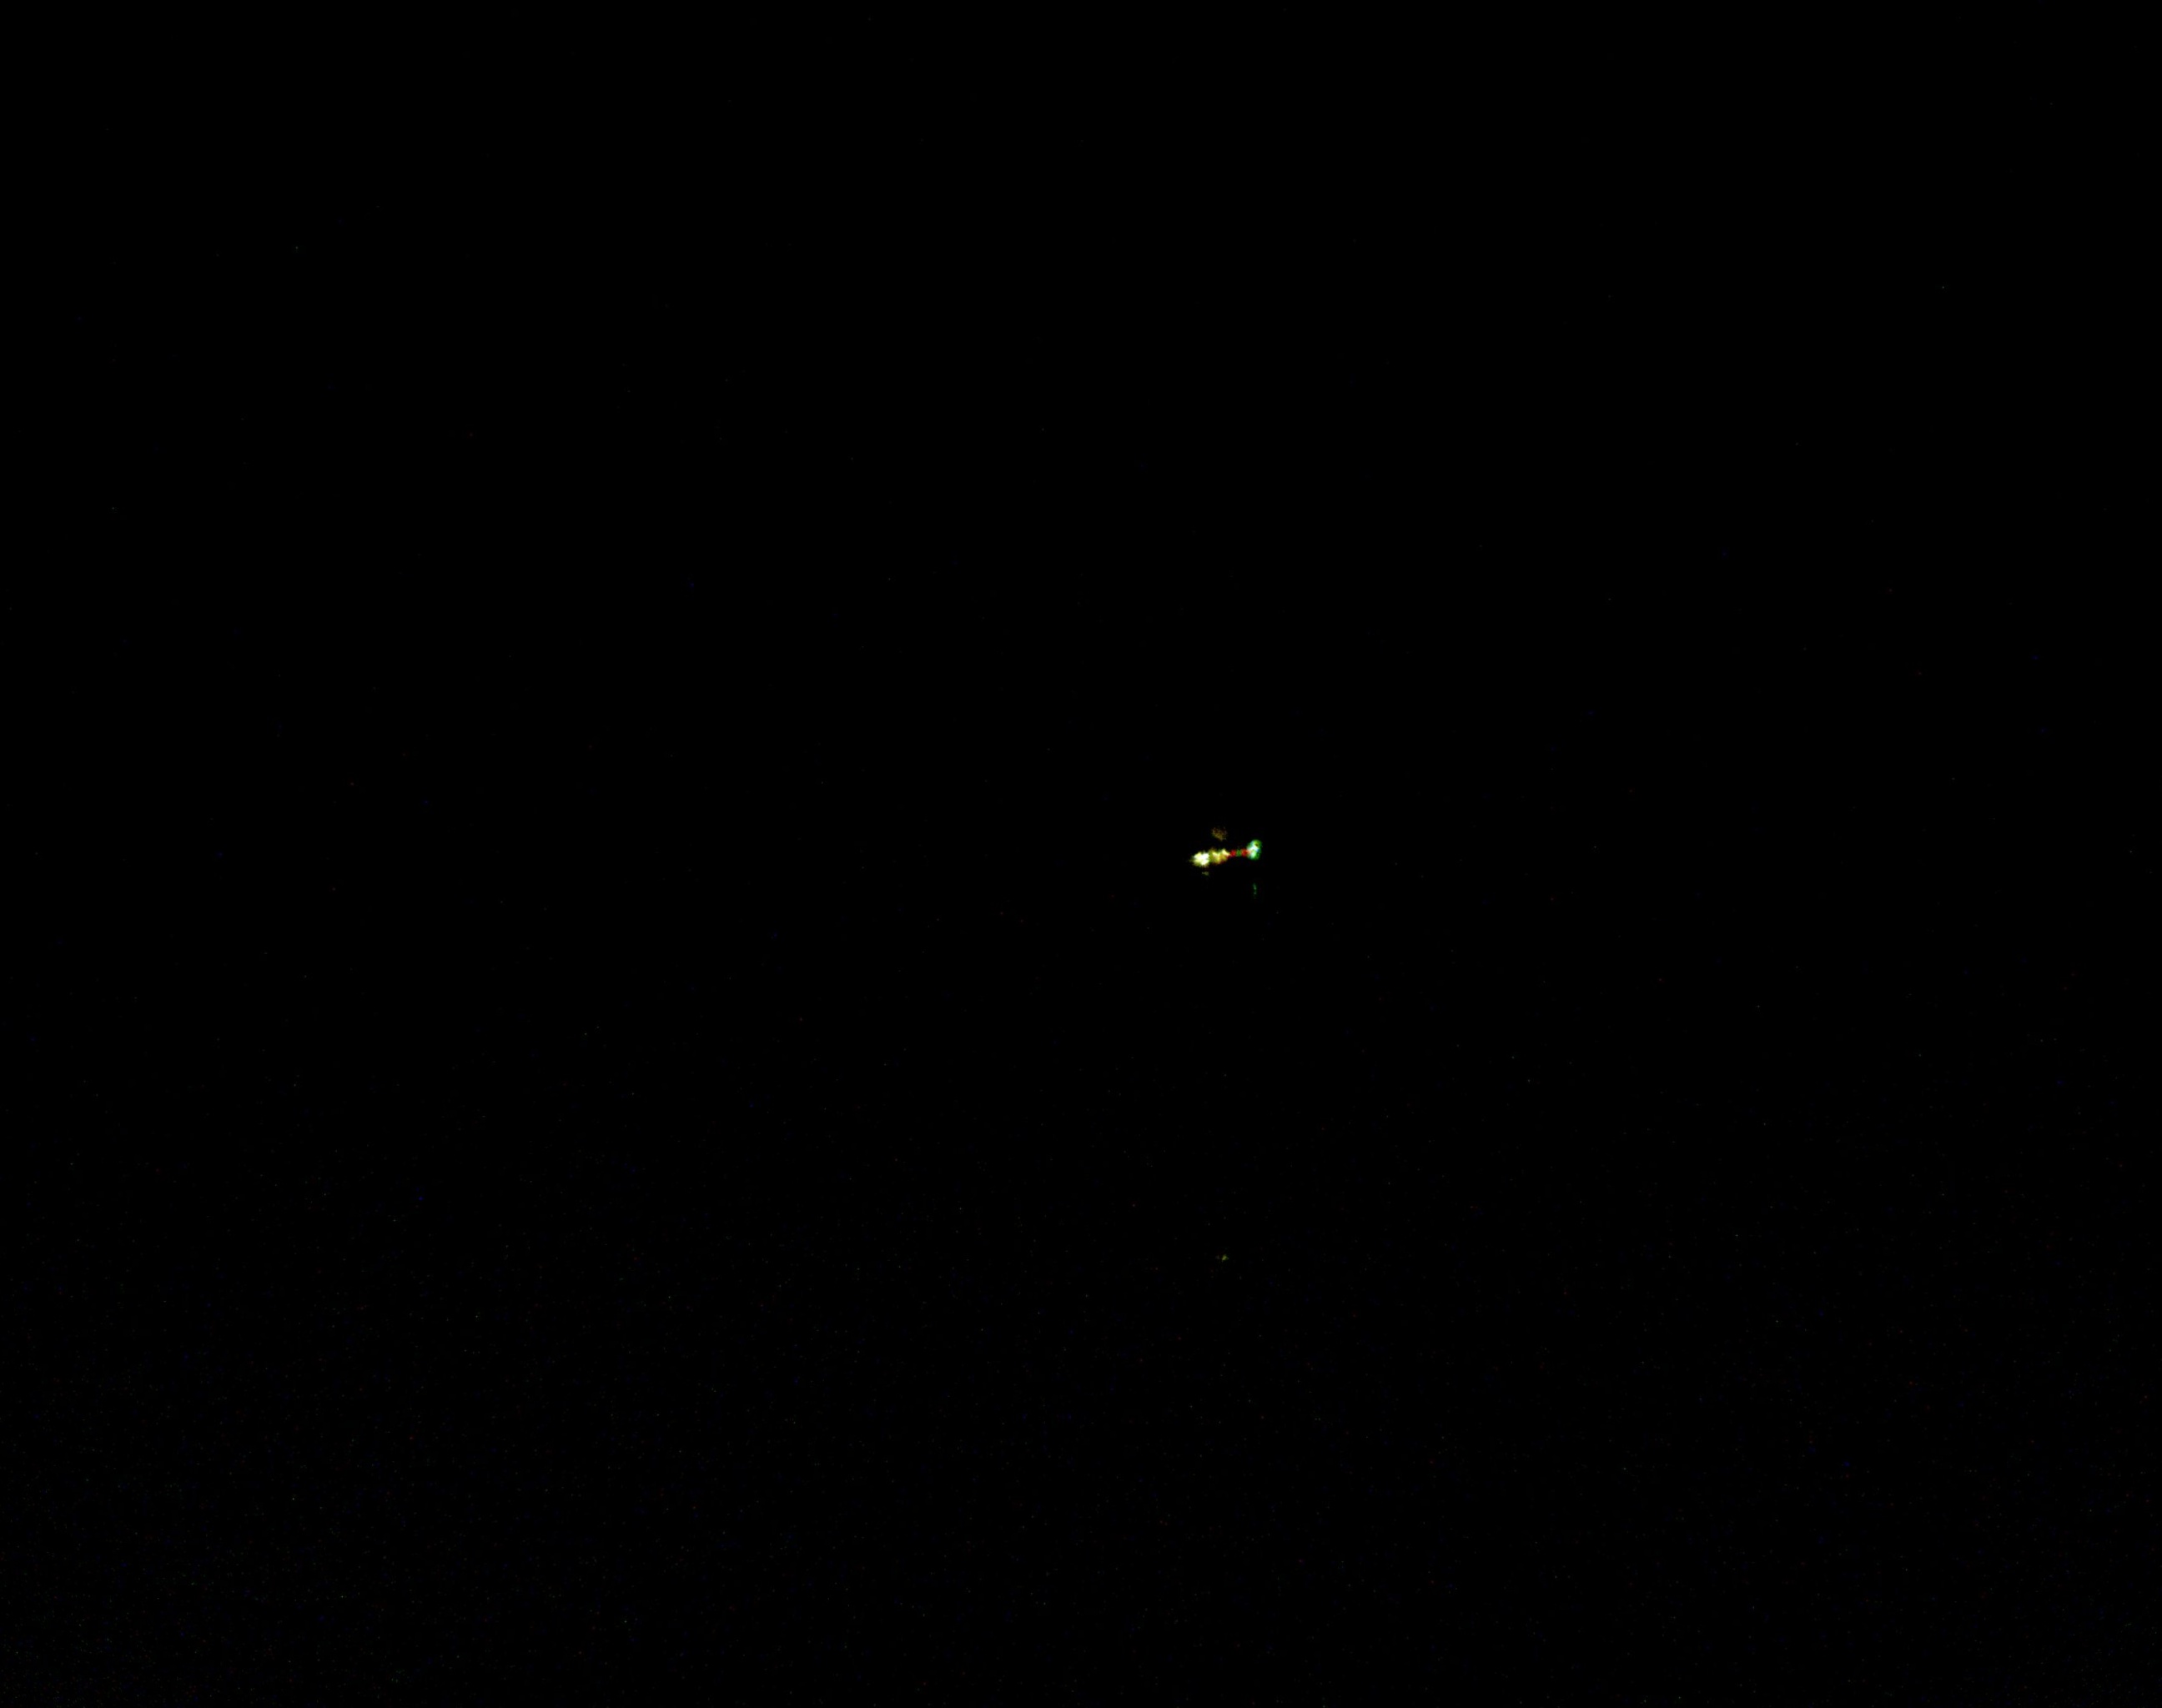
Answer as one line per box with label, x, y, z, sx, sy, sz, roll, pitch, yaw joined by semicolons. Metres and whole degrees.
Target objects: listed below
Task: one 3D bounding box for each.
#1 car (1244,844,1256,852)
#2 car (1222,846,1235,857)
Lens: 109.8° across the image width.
car;35.110;-1.268;157.790;1.773;1.381;4.040;-1;1;21
car;26.065;-0.503;134.173;1.862;1.737;4.967;-2;1;16
